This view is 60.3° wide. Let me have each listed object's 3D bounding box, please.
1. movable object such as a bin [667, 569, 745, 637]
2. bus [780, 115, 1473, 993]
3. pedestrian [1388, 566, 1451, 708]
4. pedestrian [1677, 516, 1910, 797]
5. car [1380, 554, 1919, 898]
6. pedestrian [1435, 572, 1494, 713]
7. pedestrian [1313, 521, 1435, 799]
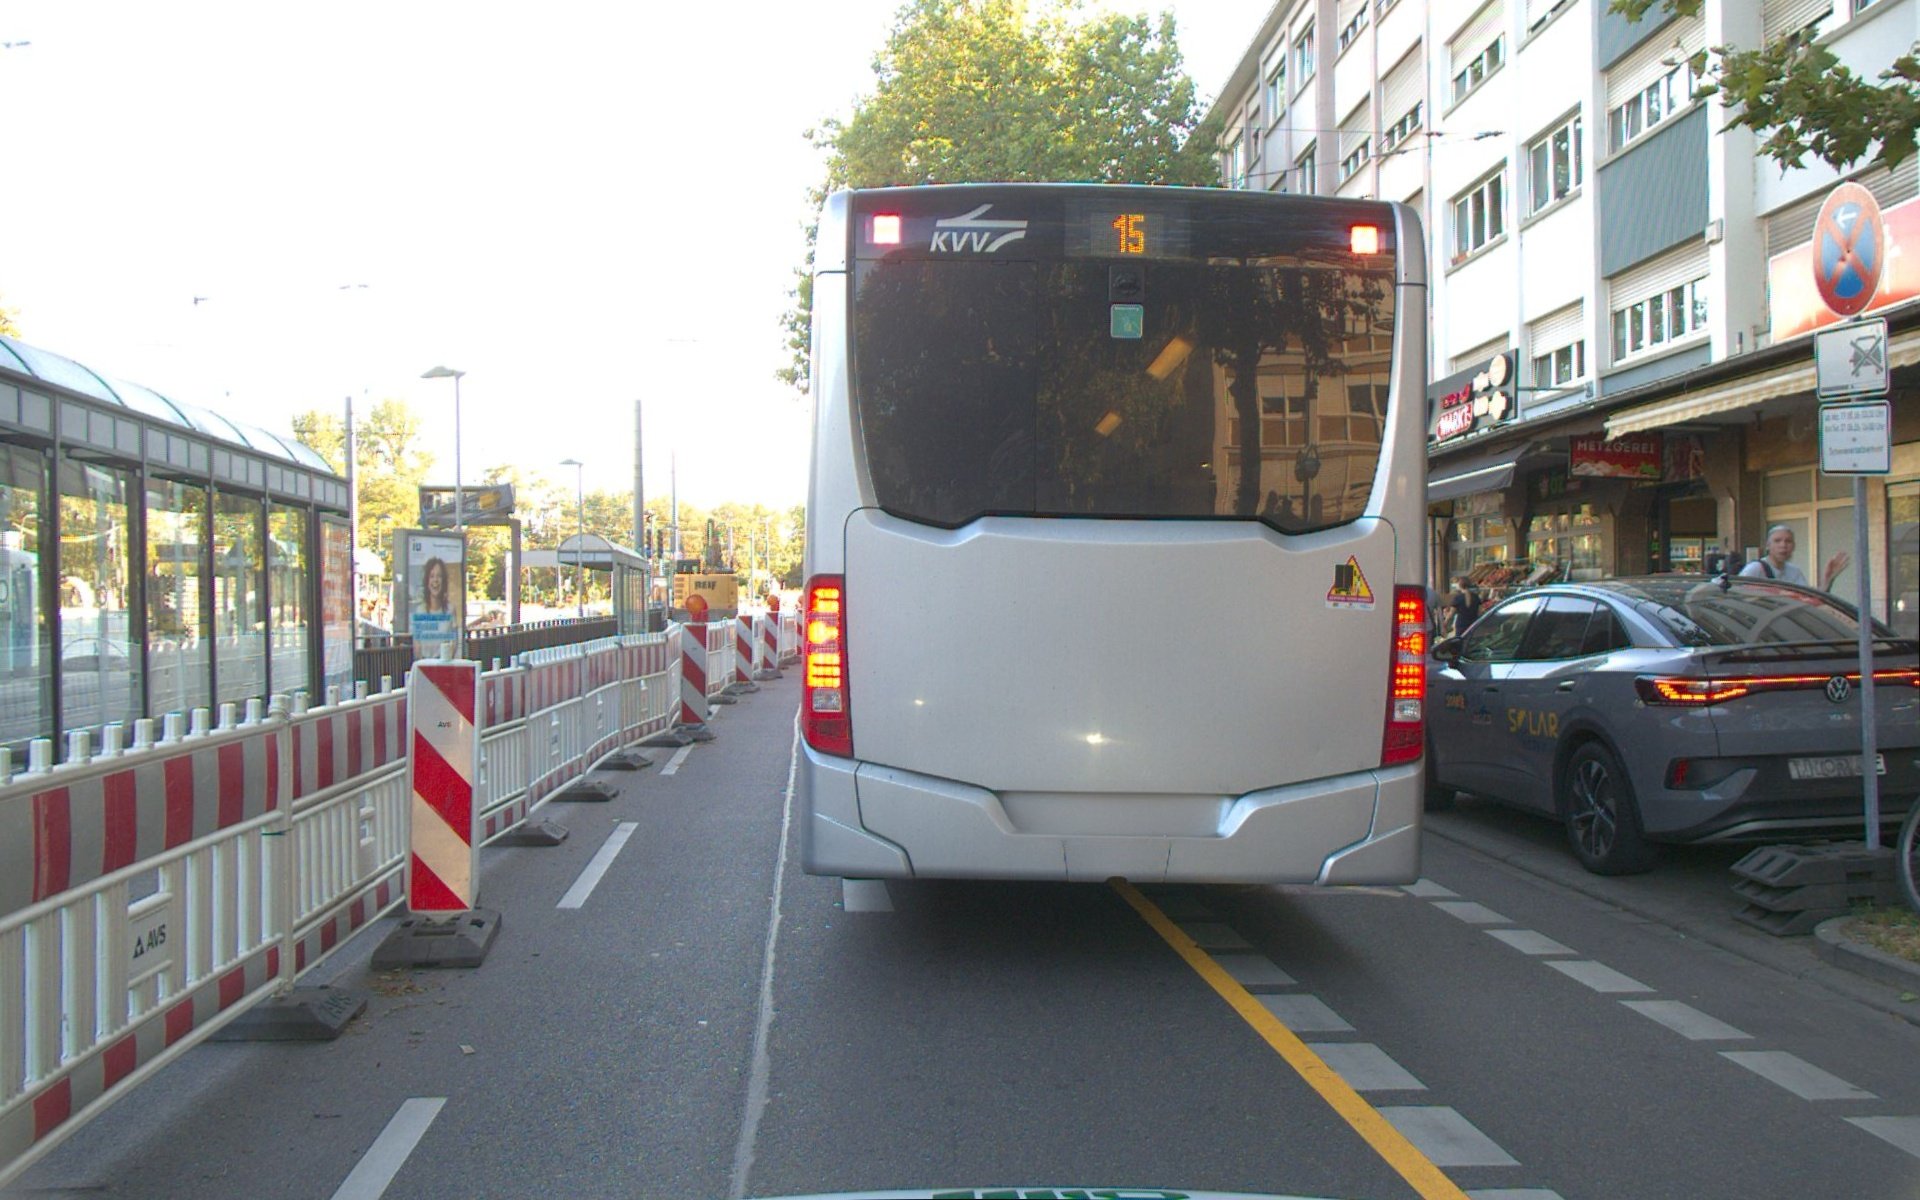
[{"bbox_3d":[-9.705,0.097,63.510,2.752,2.505,3.995,0,0,-6],"label":"movable object such as a bin"},{"bbox_3d":[0.577,-0.184,11.248,2.555,3.225,10.290,0,0,-1],"label":"bus"},{"bbox_3d":[6.738,0.533,24.266,0.677,2.049,0.696,-1,0,-4],"label":"pedestrian"},{"bbox_3d":[6.041,0.382,12.036,1.007,1.923,1.116,-1,0,-20],"label":"pedestrian"},{"bbox_3d":[4.230,0.607,10.348,1.706,1.625,4.294,-3,0,-5],"label":"car"},{"bbox_3d":[7.443,0.622,24.415,0.600,2.049,0.695,-1,0,-5],"label":"pedestrian"},{"bbox_3d":[3.172,0.451,12.644,0.753,2.049,0.714,-2,0,21],"label":"pedestrian"}]
